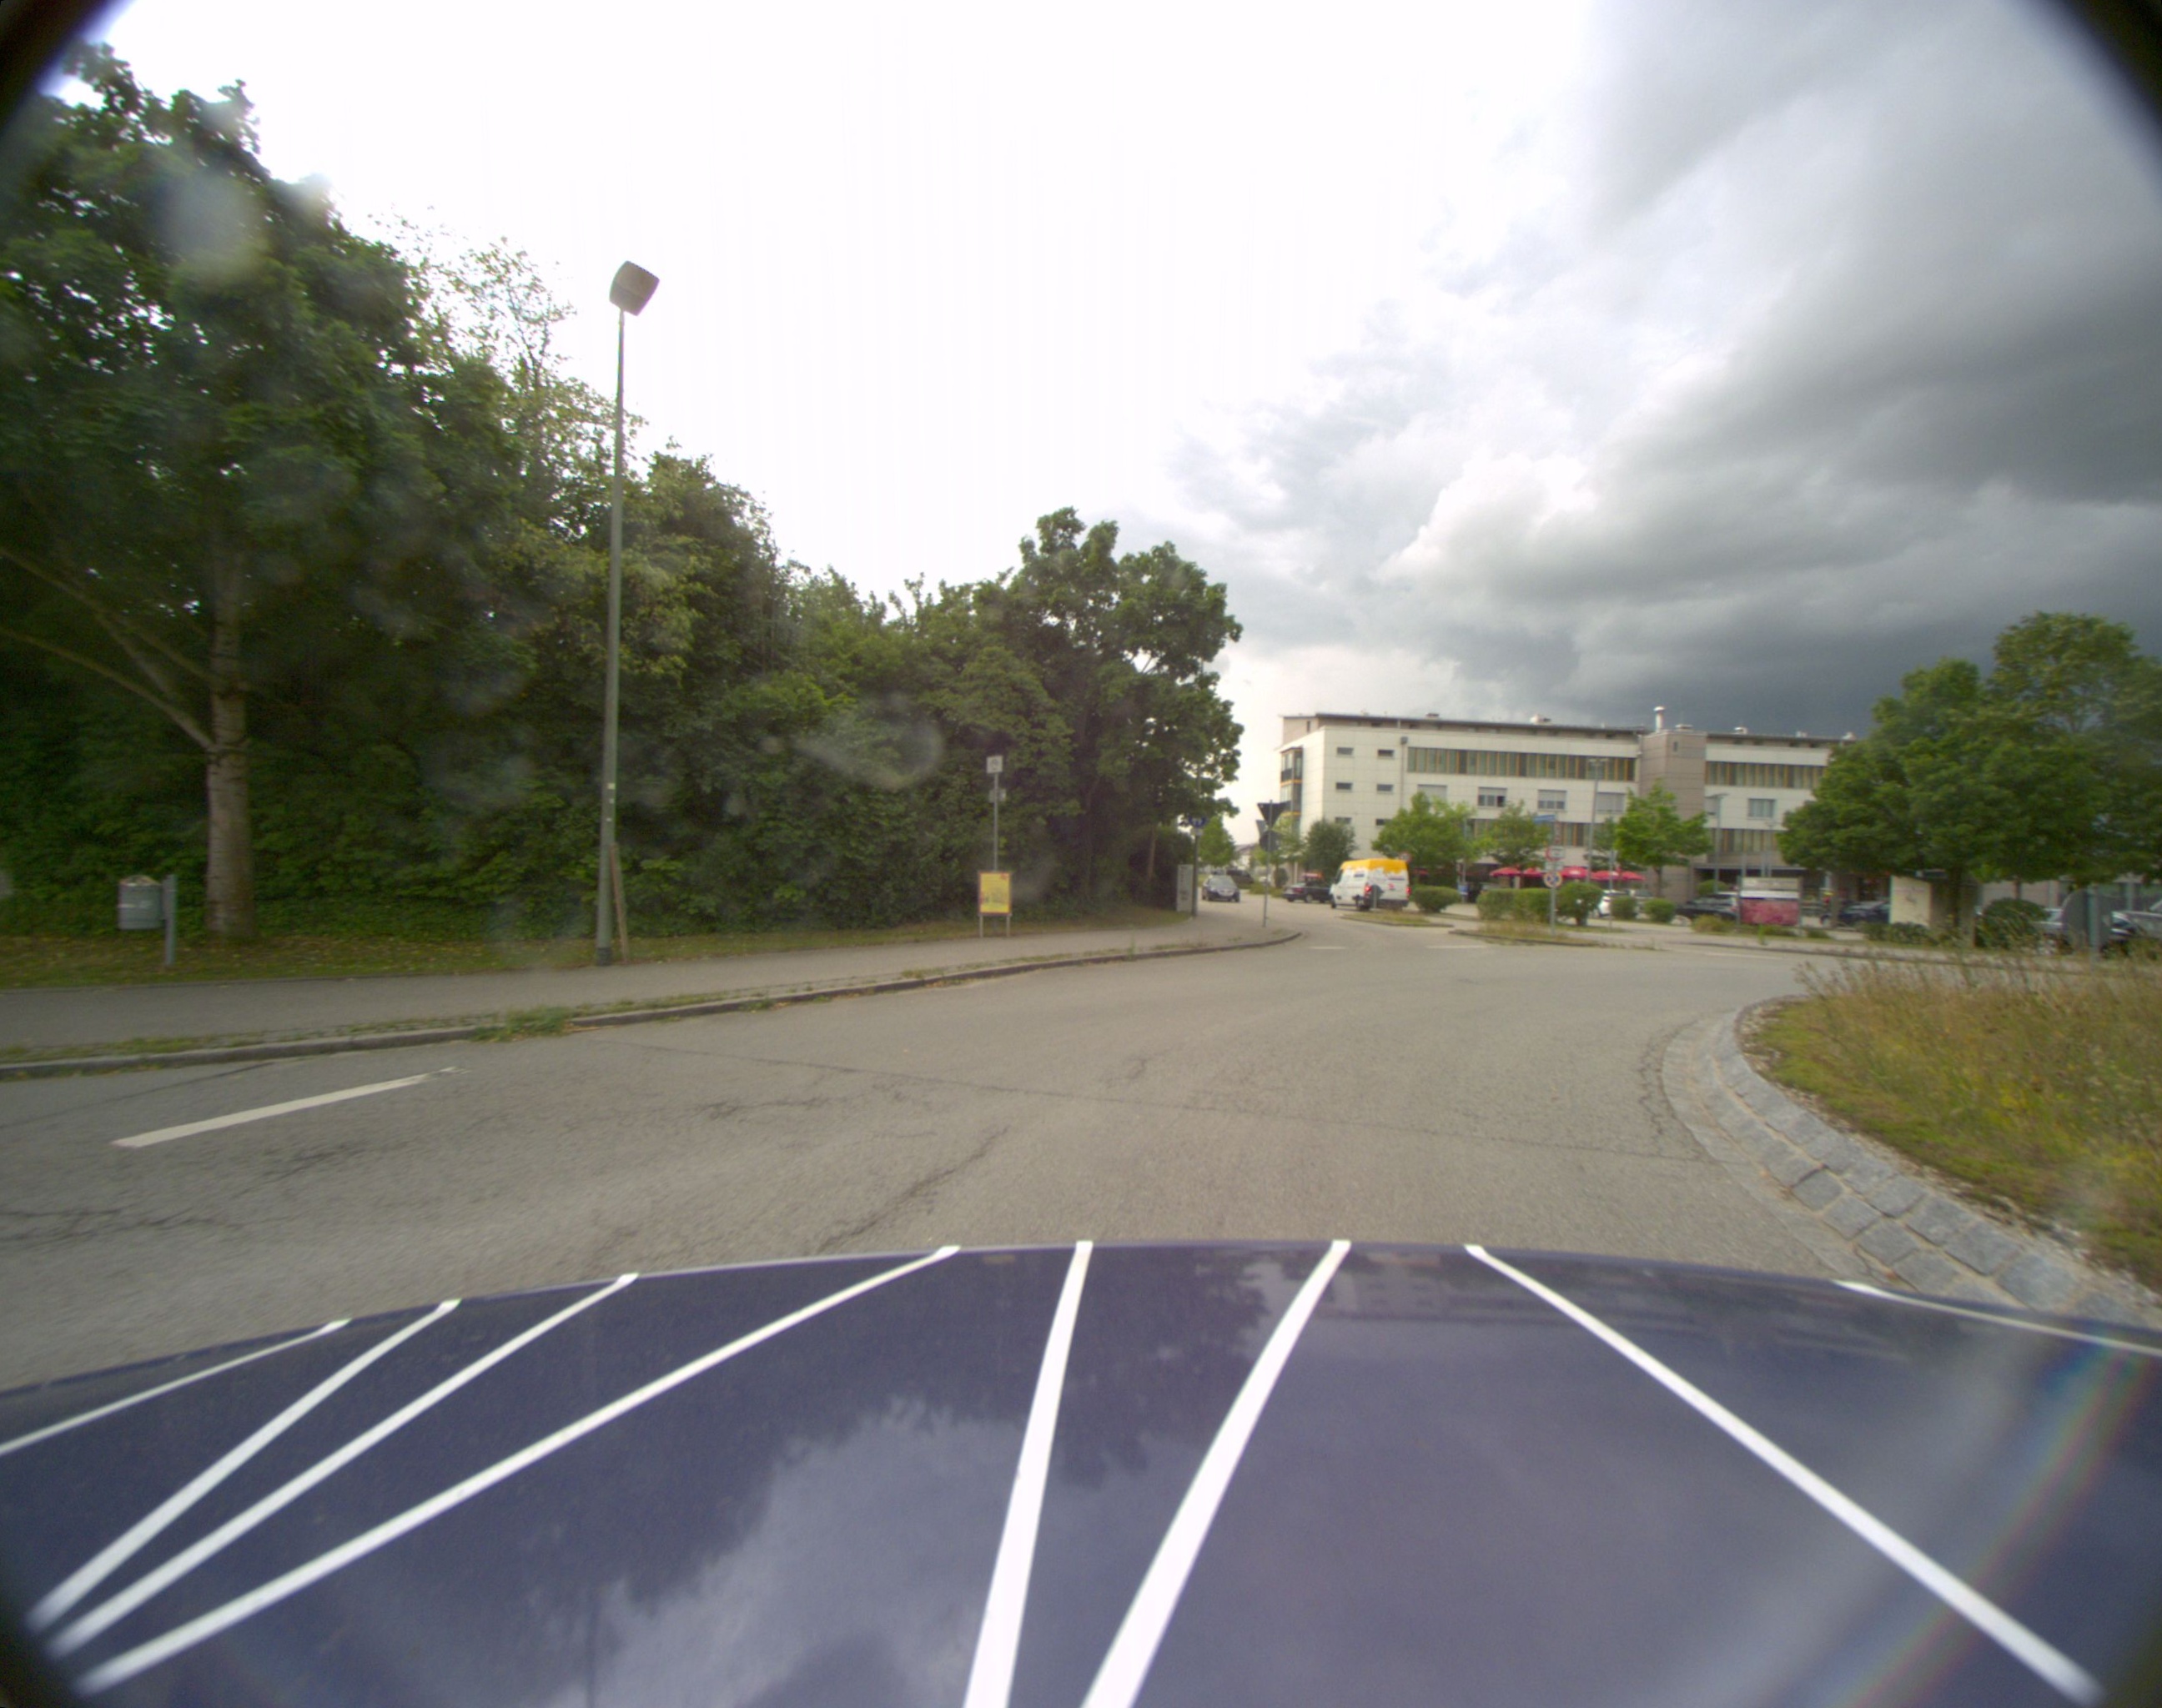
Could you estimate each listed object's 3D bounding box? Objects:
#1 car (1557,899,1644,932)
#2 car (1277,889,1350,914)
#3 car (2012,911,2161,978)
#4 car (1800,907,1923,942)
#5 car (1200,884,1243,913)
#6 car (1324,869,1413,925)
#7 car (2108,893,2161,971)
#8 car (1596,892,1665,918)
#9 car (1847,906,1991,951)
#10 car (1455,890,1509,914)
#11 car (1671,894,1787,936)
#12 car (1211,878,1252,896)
[{"bbox_3d":[26.271,3.081,38.589,1.819,1.448,4.003,2,-3,4],"label":"car"},{"bbox_3d":[14.504,2.949,47.432,4.003,1.323,1.798,3,-1,-16],"label":"car"},{"bbox_3d":[28.372,2.453,20.381,1.760,1.484,4.420,3,-1,9],"label":"car"},{"bbox_3d":[38.915,3.483,38.051,1.779,1.529,4.087,3,-3,-5],"label":"car"},{"bbox_3d":[8.129,2.572,44.333,1.799,1.455,4.001,2,-1,1],"label":"car"},{"bbox_3d":[13.869,2.059,37.074,2.168,2.436,5.444,3,-2,-1],"label":"car"},{"bbox_3d":[30.957,2.218,19.982,2.153,2.146,4.420,3,-1,9],"label":"car"},{"bbox_3d":[36.388,3.334,50.429,1.819,1.448,4.002,2,-1,4],"label":"car"},{"bbox_3d":[34.649,3.047,31.586,1.819,1.533,4.004,2,-1,7],"label":"car"},{"bbox_3d":[27.634,3.288,52.496,1.819,1.448,4.002,2,-1,4],"label":"car"},{"bbox_3d":[27.286,2.523,32.190,1.819,1.448,4.003,2,-1,7],"label":"car"},{"bbox_3d":[14.883,3.294,75.178,4.008,1.721,1.650,2,-2,-35],"label":"car"}]
